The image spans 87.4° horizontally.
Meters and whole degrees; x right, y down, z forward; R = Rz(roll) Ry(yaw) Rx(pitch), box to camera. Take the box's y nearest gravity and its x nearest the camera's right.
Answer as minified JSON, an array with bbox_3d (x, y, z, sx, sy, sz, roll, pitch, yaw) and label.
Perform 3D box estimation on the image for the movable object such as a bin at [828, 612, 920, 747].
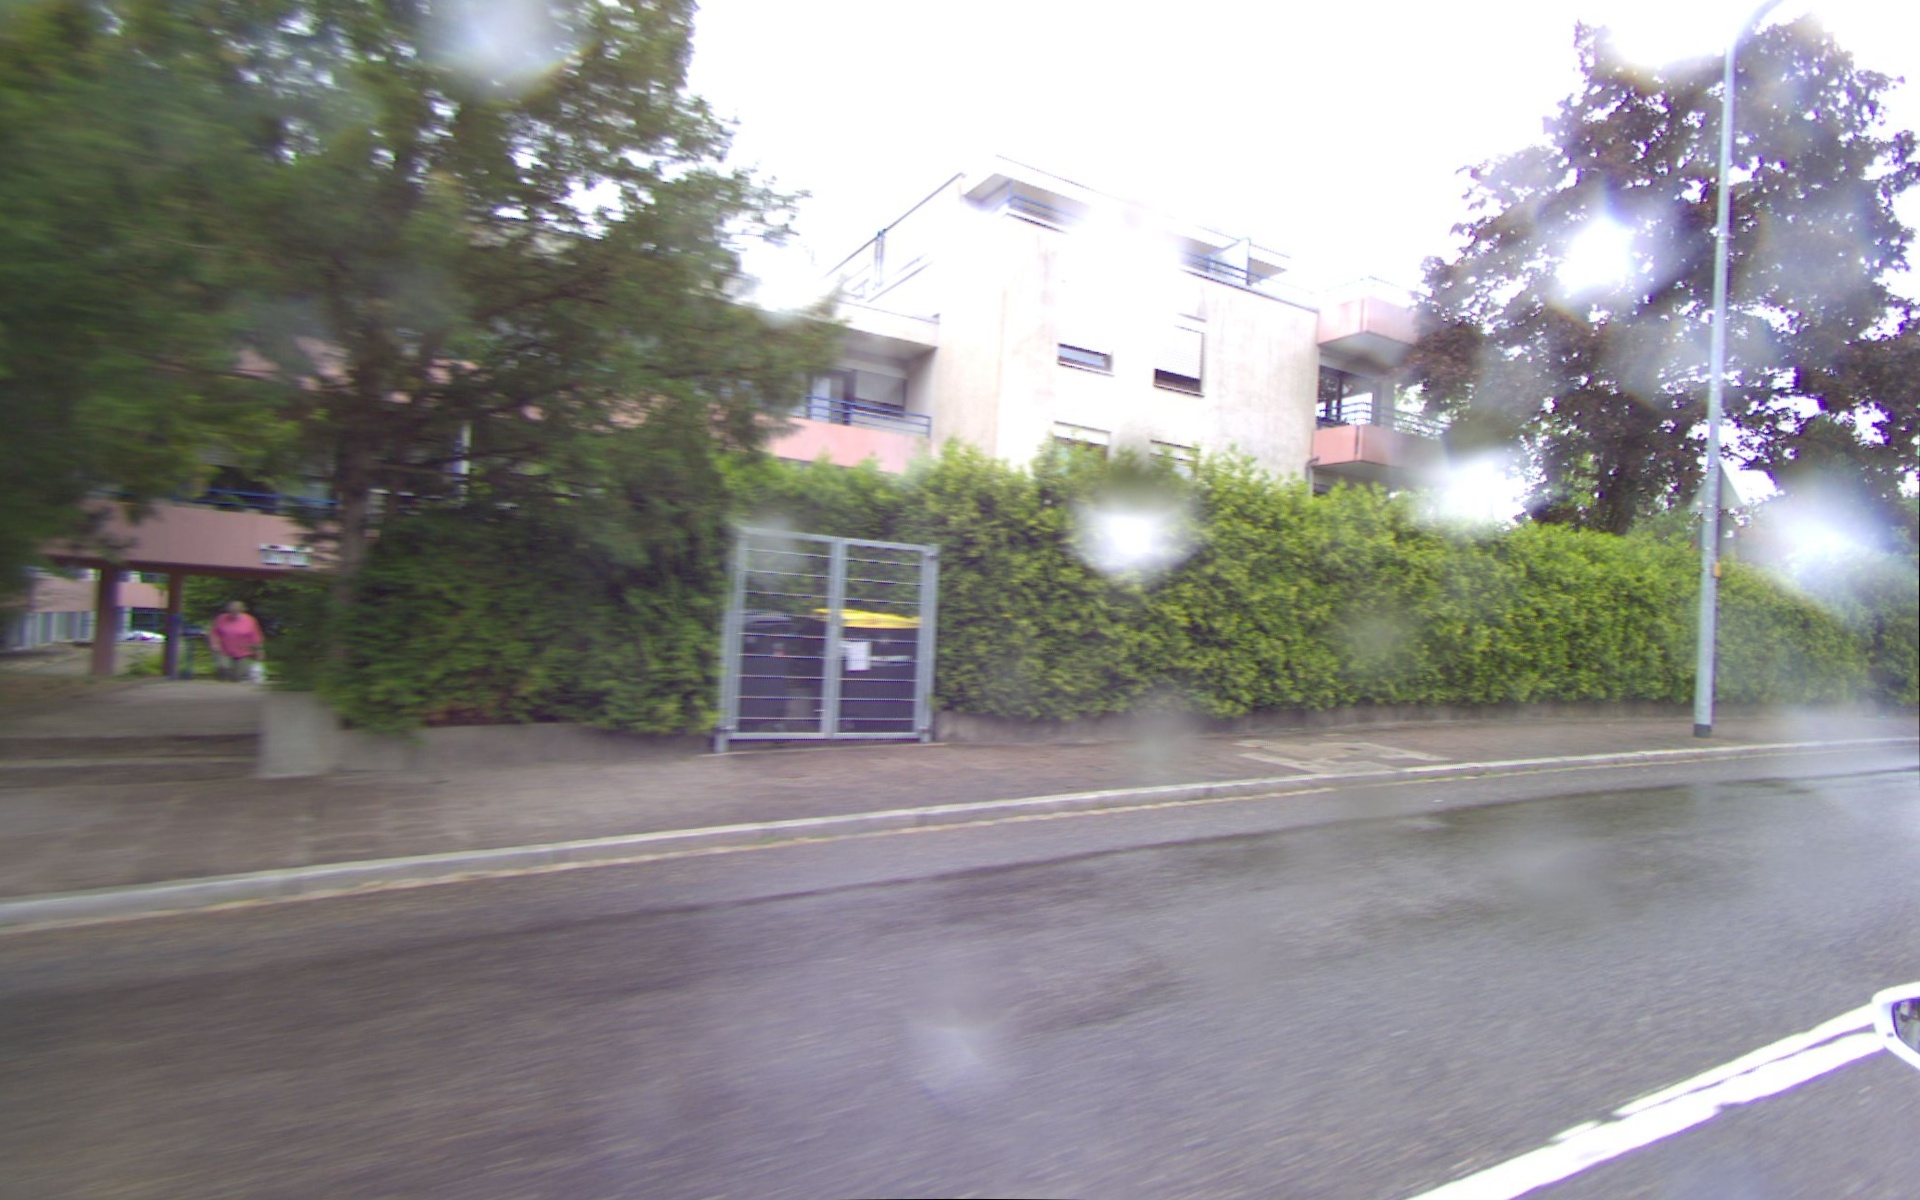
[{"bbox_3d":[-0.908,0.815,10.619,0.796,1.344,0.545,1,1,-31],"label":"movable object such as a bin"}]

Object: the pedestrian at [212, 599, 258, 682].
[{"bbox_3d":[-10.742,0.589,14.894,0.527,1.200,0.409,1,1,-34],"label":"pedestrian"}]

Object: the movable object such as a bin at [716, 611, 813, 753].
[{"bbox_3d":[-1.964,0.792,10.068,0.796,1.344,0.545,1,1,-31],"label":"movable object such as a bin"}]

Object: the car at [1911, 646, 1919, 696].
[{"bbox_3d":[28.673,2.085,26.813,1.785,1.380,4.458,1,1,-31],"label":"car"}]
